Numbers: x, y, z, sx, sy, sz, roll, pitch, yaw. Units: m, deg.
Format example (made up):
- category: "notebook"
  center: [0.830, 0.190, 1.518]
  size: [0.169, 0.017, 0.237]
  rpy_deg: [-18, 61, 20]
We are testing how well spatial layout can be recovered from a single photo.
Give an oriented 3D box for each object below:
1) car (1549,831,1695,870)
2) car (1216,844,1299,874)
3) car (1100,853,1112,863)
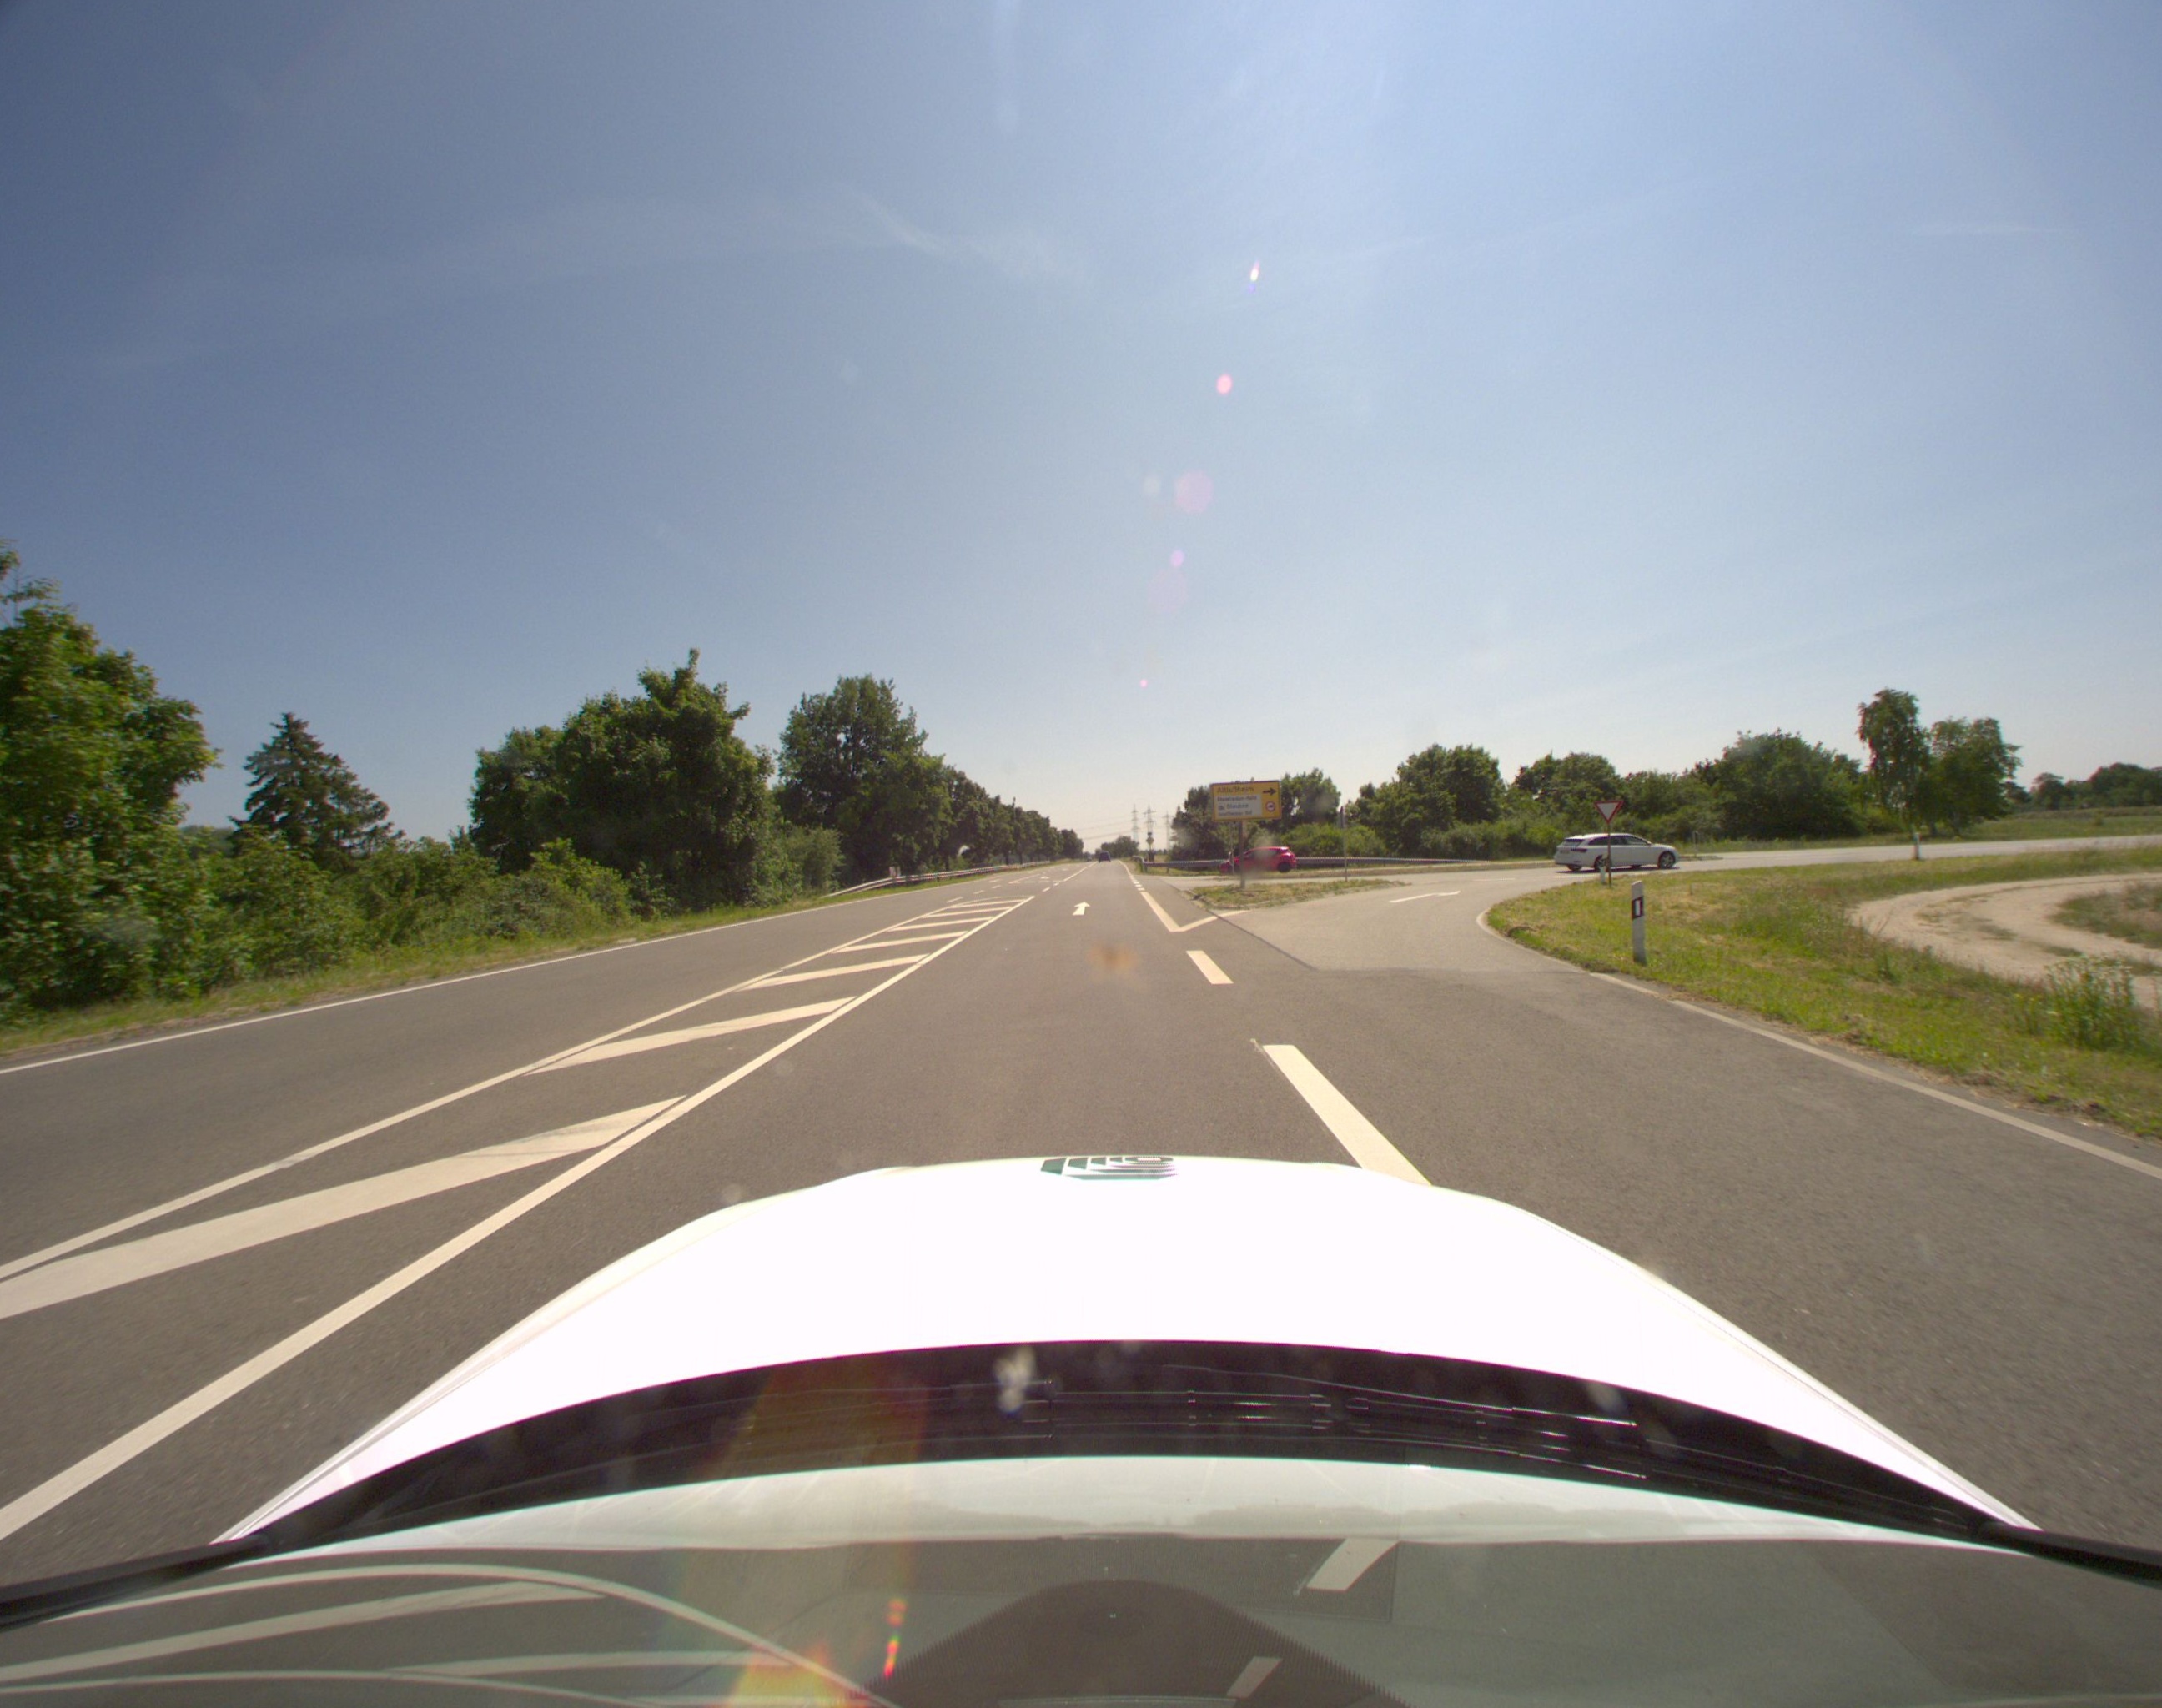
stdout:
- category: "car"
  center: [21.427, -0.131, 32.363]
  size: [4.689, 1.418, 1.839]
  rpy_deg: [-1, 0, -3]
- category: "car"
  center: [9.333, 0.282, 42.961]
  size: [4.122, 1.418, 1.787]
  rpy_deg: [-2, -1, 15]
- category: "car"
  center: [3.946, 0.672, 129.614]
  size: [1.878, 1.518, 4.039]
  rpy_deg: [-1, 0, 0]
